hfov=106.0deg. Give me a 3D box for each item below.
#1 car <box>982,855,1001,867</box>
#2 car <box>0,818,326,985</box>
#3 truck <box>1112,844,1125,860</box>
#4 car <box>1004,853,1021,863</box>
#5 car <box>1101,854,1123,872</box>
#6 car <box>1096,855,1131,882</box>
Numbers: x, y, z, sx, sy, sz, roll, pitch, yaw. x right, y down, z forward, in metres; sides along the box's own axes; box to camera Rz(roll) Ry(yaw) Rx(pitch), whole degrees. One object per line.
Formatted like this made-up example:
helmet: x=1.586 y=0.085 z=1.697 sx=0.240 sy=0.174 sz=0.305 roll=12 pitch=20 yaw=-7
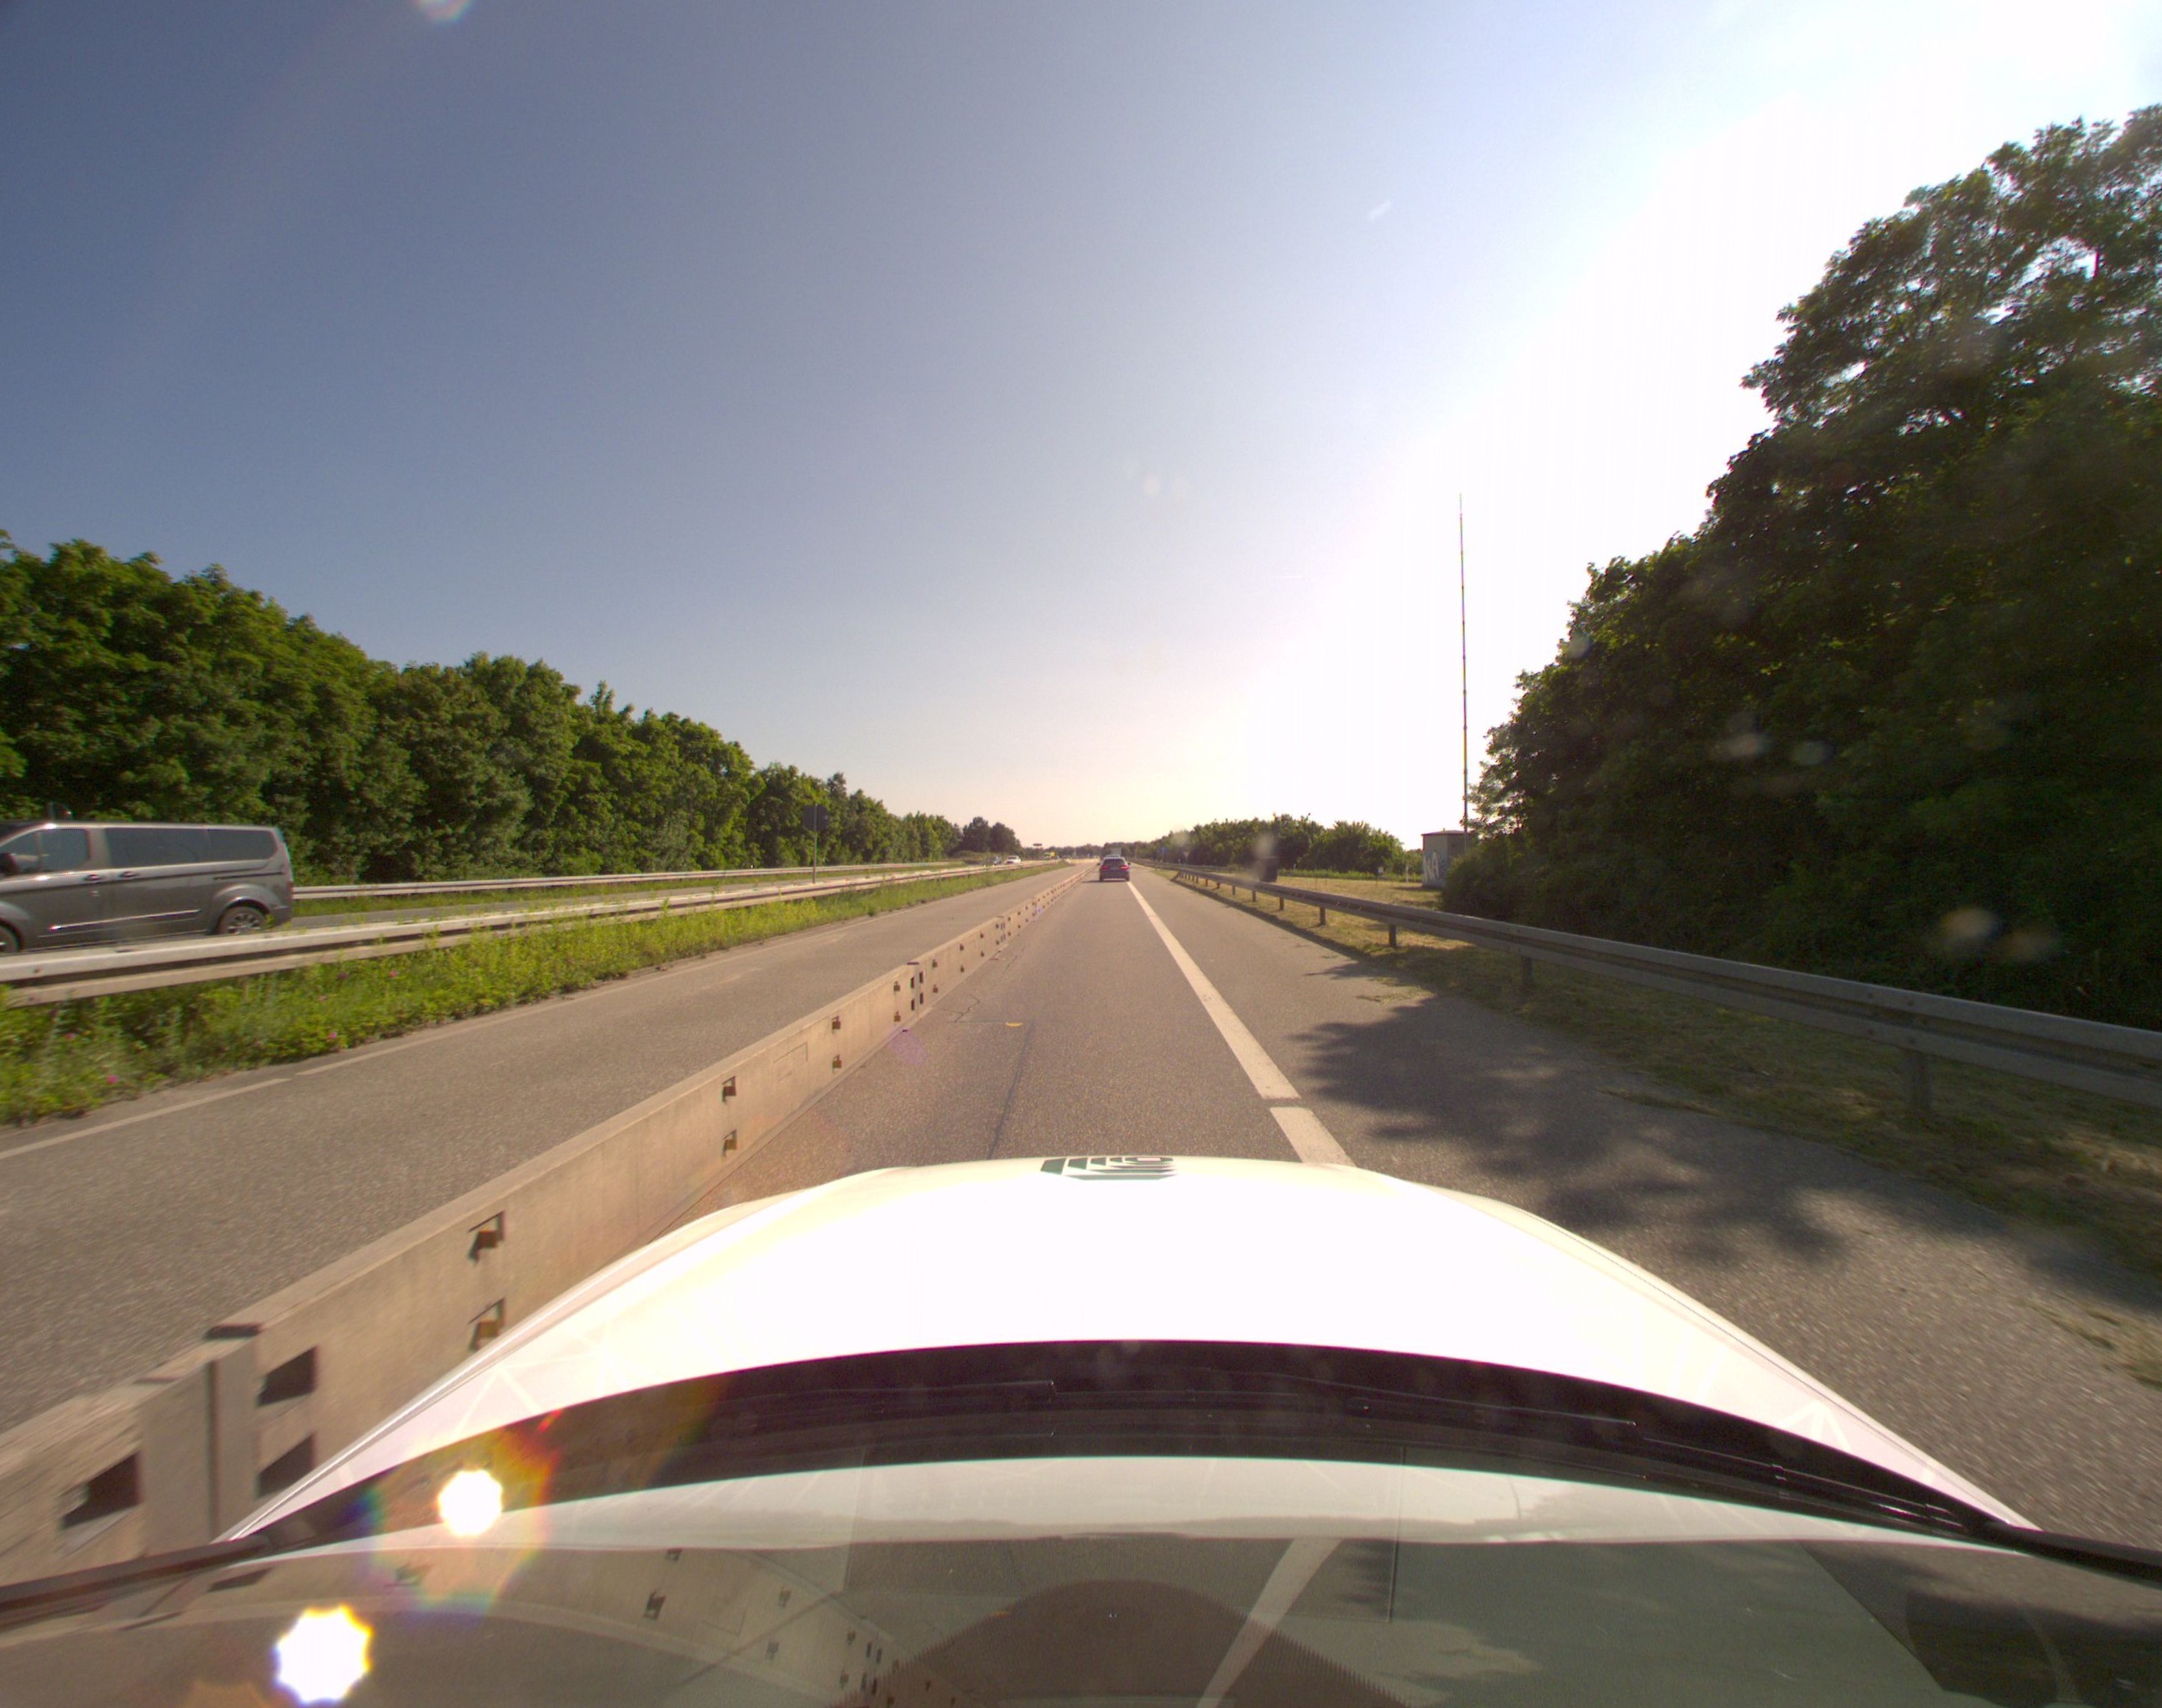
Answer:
car: x=-10.807 y=0.837 z=98.475 sx=1.732 sy=1.494 sz=4.111 roll=0 pitch=0 yaw=2
car: x=-14.099 y=0.593 z=11.444 sx=1.986 sy=2.034 sz=5.171 roll=-1 pitch=0 yaw=2
truck: x=11.425 y=-0.686 z=251.712 sx=3.747 sy=4.911 sz=14.140 roll=0 pitch=0 yaw=1
car: x=-9.541 y=0.544 z=113.890 sx=1.753 sy=1.470 sz=4.796 roll=0 pitch=0 yaw=1
car: x=3.007 y=0.854 z=78.346 sx=1.985 sy=1.567 sz=4.003 roll=-1 pitch=0 yaw=2
car: x=1.903 y=0.839 z=48.610 sx=1.914 sy=1.494 sz=4.000 roll=-1 pitch=0 yaw=1
